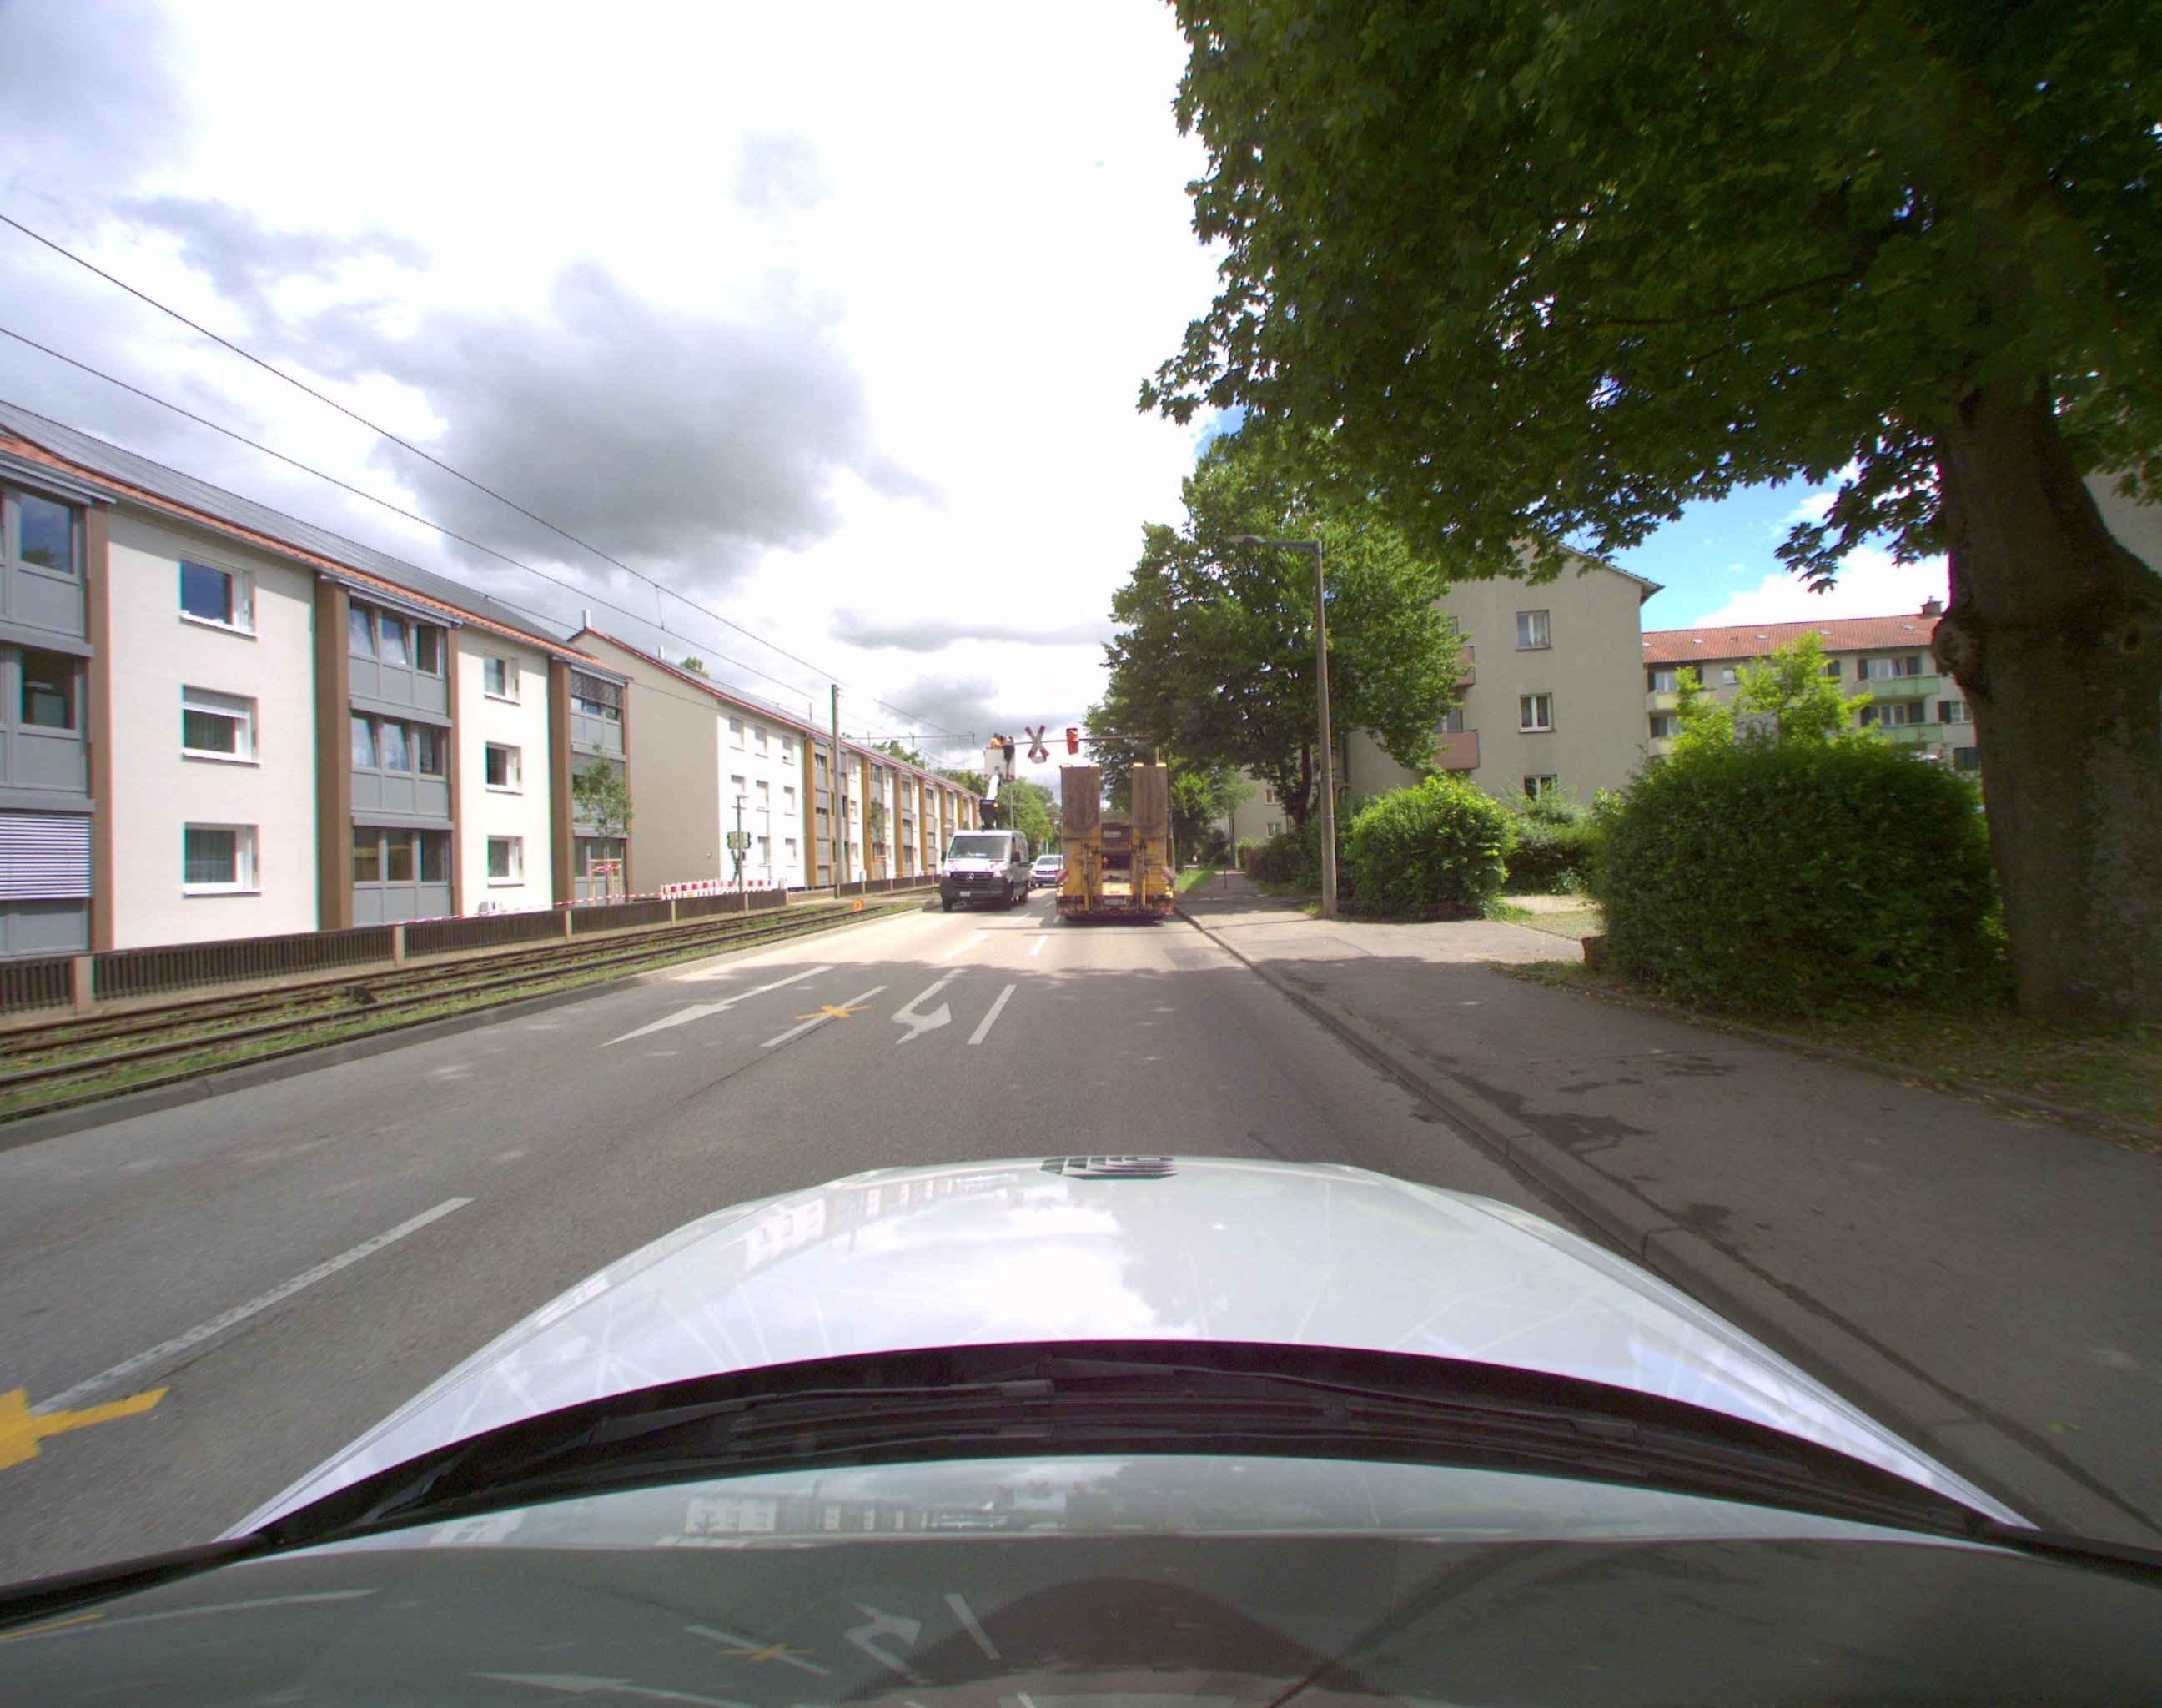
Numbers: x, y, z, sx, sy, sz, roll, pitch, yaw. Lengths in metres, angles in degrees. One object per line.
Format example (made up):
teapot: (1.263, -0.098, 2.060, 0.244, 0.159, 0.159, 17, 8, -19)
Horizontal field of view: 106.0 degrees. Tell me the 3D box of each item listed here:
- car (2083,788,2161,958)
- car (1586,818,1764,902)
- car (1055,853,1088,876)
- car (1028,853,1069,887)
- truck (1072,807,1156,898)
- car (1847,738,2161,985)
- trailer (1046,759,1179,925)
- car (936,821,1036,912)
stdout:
car: (10.851, 0.131, 6.147, 1.803, 1.583, 4.006, -3, -1, 6)
car: (12.158, 0.103, 16.955, 1.651, 1.480, 3.706, -3, 0, 14)
car: (-0.618, 0.691, 55.787, 1.871, 1.481, 4.533, 0, 0, 4)
car: (-1.537, 0.753, 39.779, 1.711, 1.552, 3.919, 0, 0, 2)
truck: (1.343, -0.062, 32.210, 2.905, 3.167, 7.686, 0, 0, 3)
car: (8.232, 0.029, 6.037, 1.800, 1.649, 4.012, -2, 0, 10)
trailer: (0.904, -0.247, 22.856, 2.811, 3.524, 11.058, 0, 0, 2)
car: (-2.749, 0.331, 25.135, 1.985, 2.430, 6.327, -1, 0, 3)
